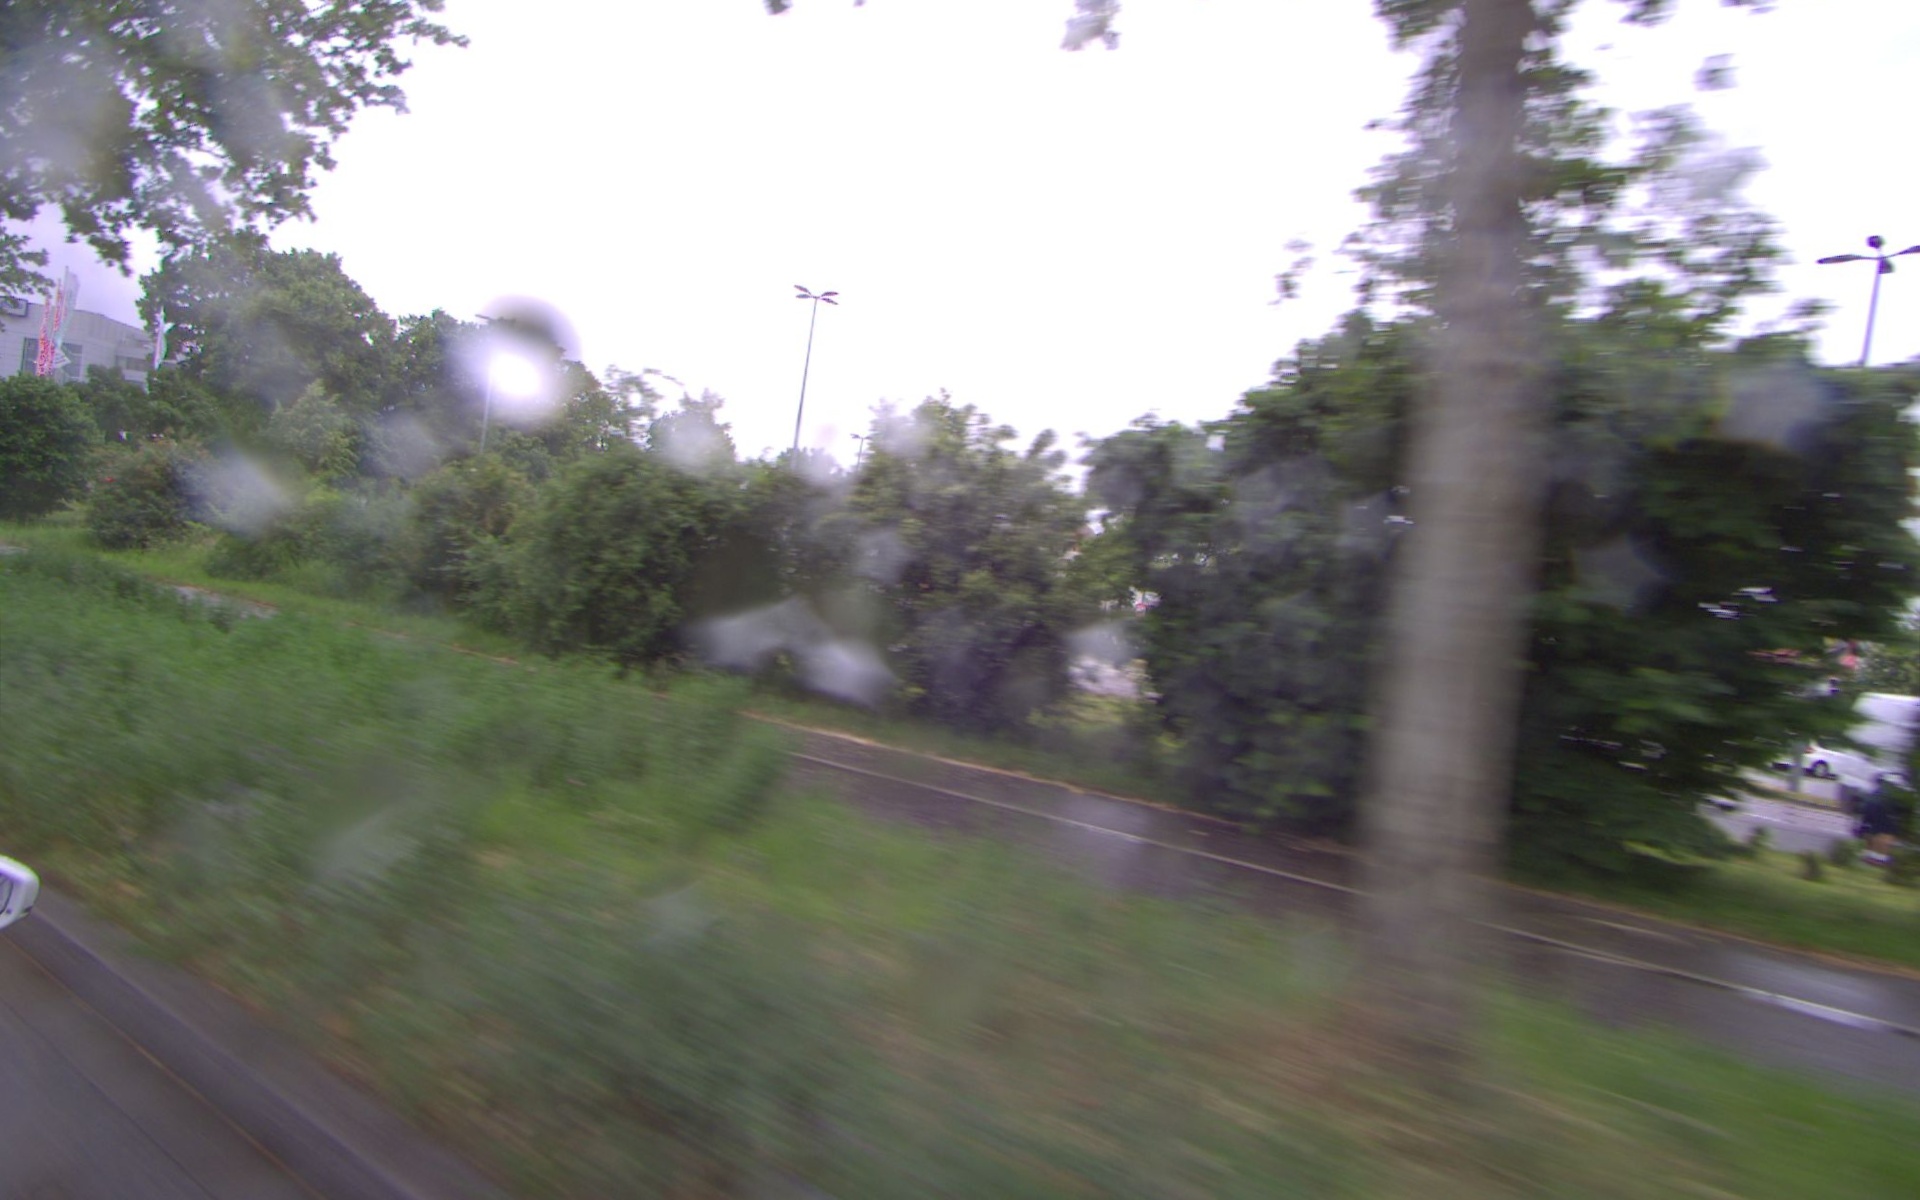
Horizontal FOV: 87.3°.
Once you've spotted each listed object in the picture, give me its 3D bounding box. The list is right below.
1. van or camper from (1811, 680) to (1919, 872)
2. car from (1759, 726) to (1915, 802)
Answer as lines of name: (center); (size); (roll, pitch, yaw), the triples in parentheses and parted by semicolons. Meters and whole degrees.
van or camper: (14.861, 2.634, 14.935); (1.966, 2.573, 6.377); (7, -2, 29)
car: (32.378, 6.017, 37.194); (4.002, 2.037, 1.899); (8, -1, -3)
